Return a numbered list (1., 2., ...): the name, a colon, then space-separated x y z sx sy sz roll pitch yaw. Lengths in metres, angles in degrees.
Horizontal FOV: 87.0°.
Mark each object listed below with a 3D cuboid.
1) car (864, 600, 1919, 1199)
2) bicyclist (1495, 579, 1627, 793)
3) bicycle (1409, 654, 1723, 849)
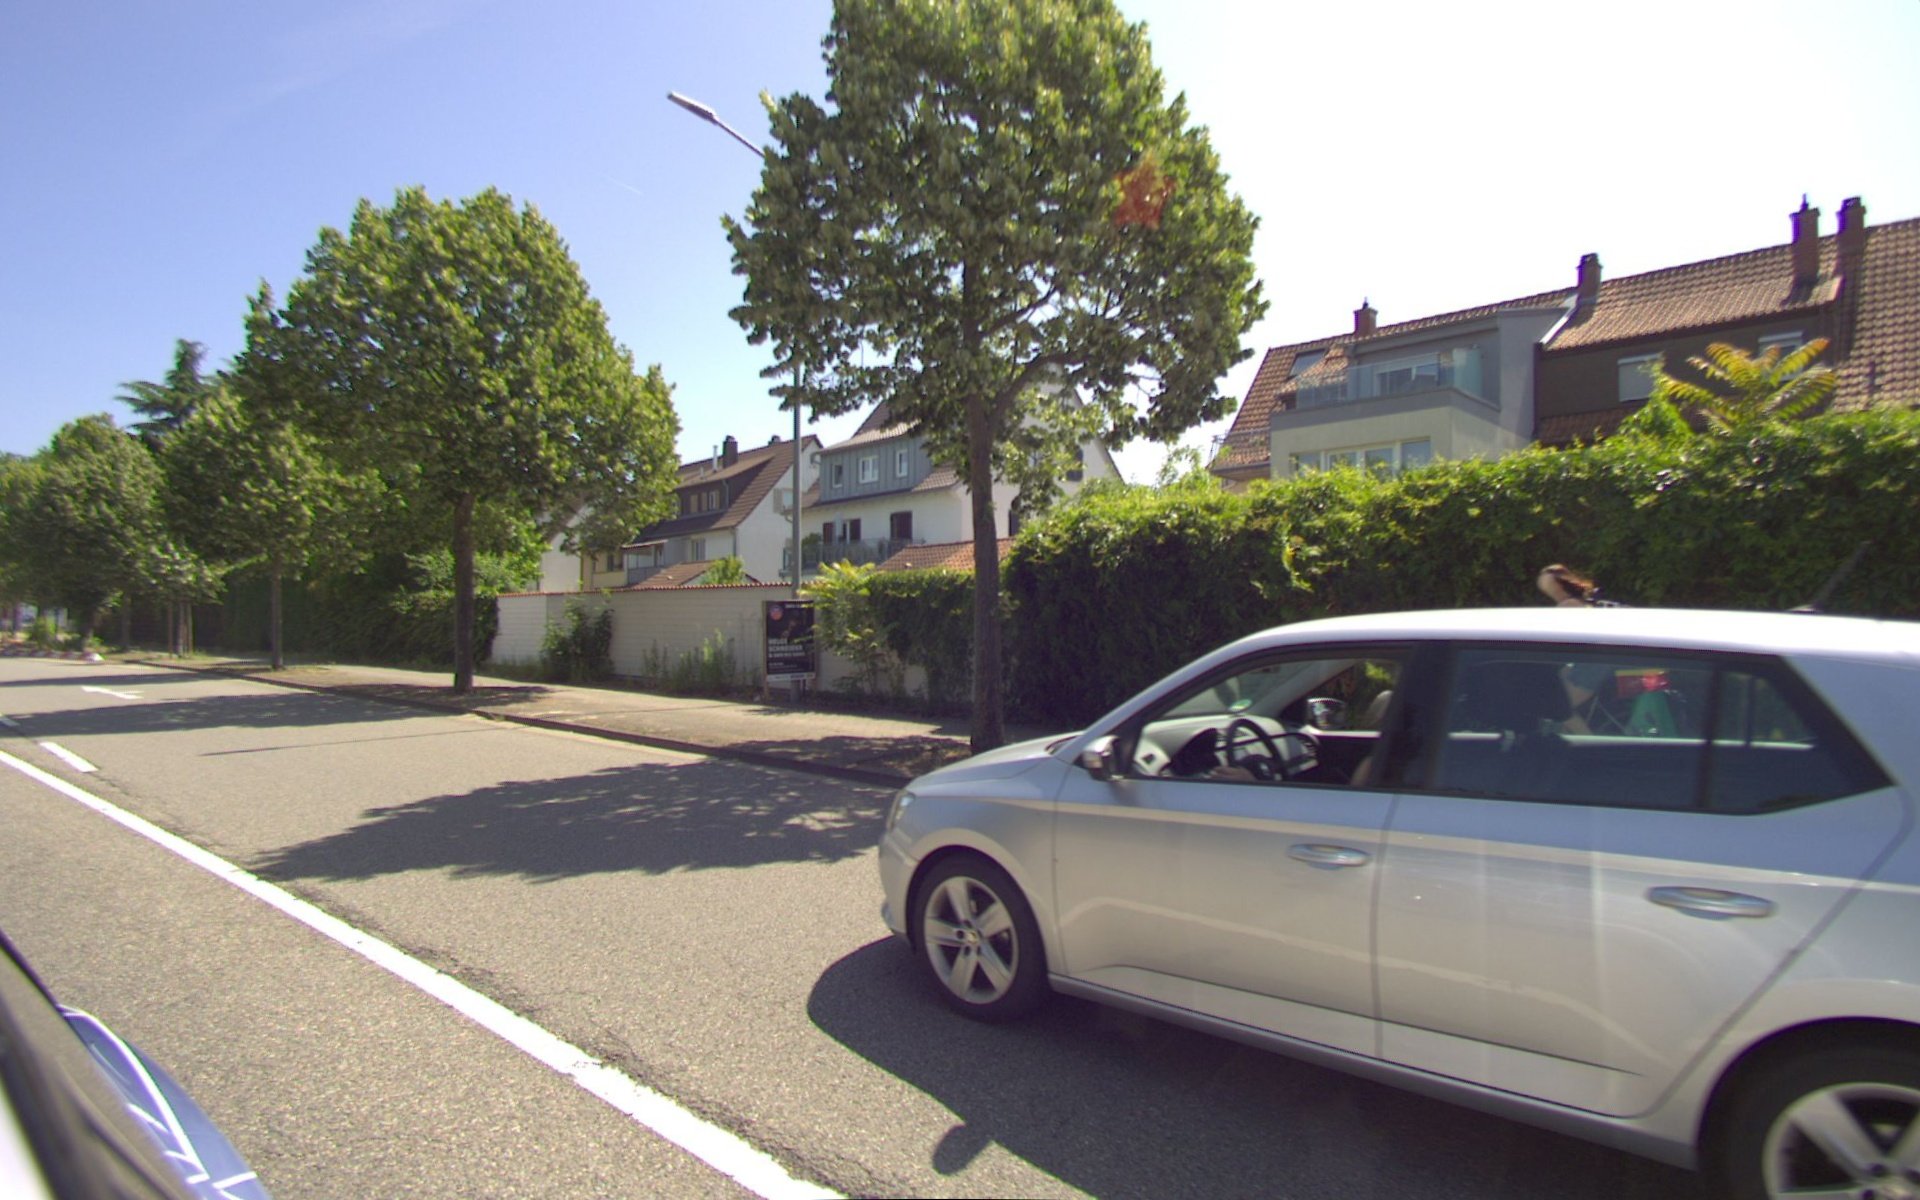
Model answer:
1. car: 1.549 0.787 3.126 3.706 1.494 1.595 -2 -2 42
2. bicyclist: 4.263 0.585 7.179 0.676 1.419 0.621 -2 -3 42
3. bicycle: 4.237 0.990 7.182 1.815 1.189 0.625 -2 -3 42
